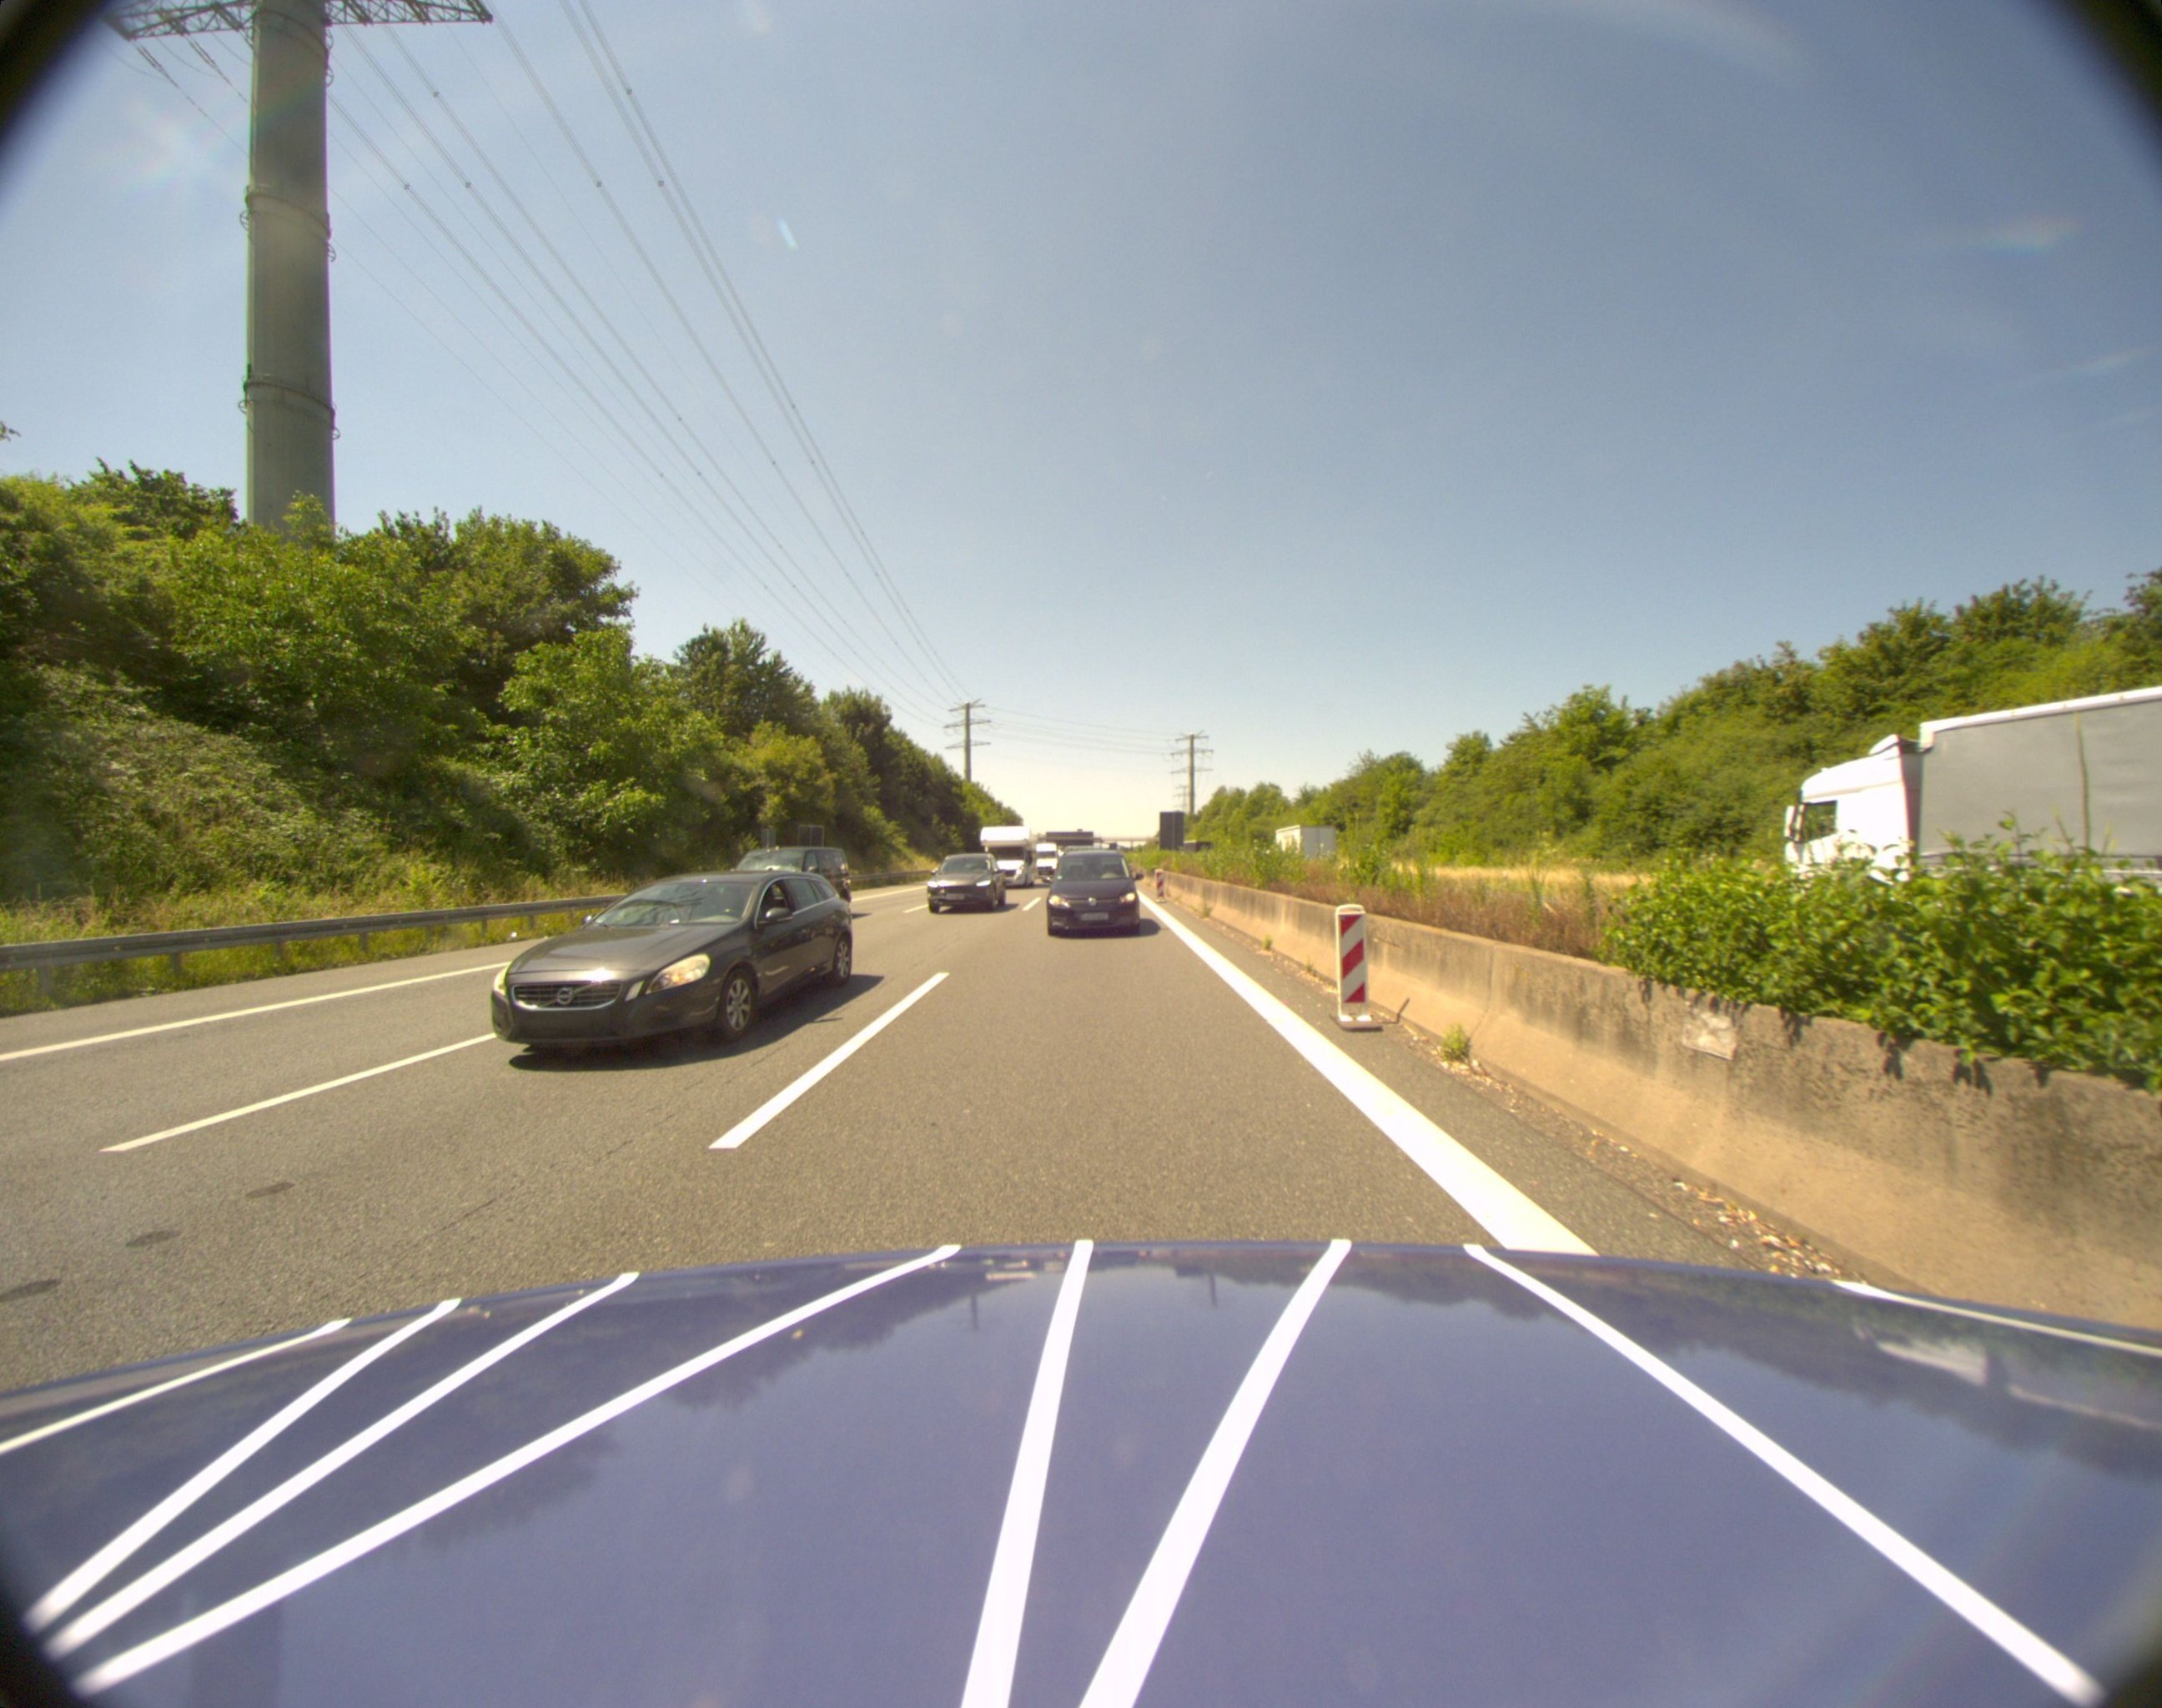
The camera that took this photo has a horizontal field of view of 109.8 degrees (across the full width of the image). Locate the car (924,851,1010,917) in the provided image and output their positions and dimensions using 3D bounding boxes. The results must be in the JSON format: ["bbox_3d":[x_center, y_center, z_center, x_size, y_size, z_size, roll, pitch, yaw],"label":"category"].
[{"bbox_3d":[-3.286,0.809,22.787,1.892,1.693,4.383,-2,1,0],"label":"car"}]

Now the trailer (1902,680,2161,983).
[{"bbox_3d":[16.179,-0.238,6.581,3.024,4.143,14.020,2,0,1],"label":"trailer"}]

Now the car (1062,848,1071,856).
[{"bbox_3d":[-3.831,-0.547,198.475,1.998,2.002,4.000,-2,1,1],"label":"car"}]

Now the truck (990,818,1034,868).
[{"bbox_3d":[-6.153,-0.971,69.773,2.655,4.128,11.661,-2,0,1],"label":"truck"}]

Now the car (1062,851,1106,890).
[{"bbox_3d":[0.164,0.718,36.110,1.892,1.693,4.383,-2,1,1],"label":"car"}]

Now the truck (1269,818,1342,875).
[{"bbox_3d":[16.733,-0.529,57.377,2.769,3.866,9.029,2,1,1],"label":"truck"}]

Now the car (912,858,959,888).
[{"bbox_3d":[-7.795,1.001,41.107,1.800,1.429,3.731,-2,1,0],"label":"car"}]

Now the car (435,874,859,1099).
[{"bbox_3d":[-3.758,1.019,7.624,1.800,1.429,4.230,-2,0,0],"label":"car"}]

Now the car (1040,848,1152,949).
[{"bbox_3d":[0.241,0.750,15.354,1.892,1.693,4.383,-2,1,0],"label":"car"}]

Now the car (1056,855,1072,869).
[{"bbox_3d":[-2.041,0.967,93.833,1.892,1.693,4.383,-2,1,0],"label":"car"}]

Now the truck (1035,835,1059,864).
[{"bbox_3d":[-5.045,-0.691,113.498,2.655,4.128,11.661,-2,0,1],"label":"truck"}]

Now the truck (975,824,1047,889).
[{"bbox_3d":[-3.503,0.076,40.638,2.514,2.997,9.897,-2,0,2],"label":"truck"}]

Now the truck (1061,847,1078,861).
[{"bbox_3d":[-1.962,0.033,128.123,2.408,2.203,6.744,-2,0,2],"label":"truck"}]

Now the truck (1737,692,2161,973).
[{"bbox_3d":[16.392,-0.303,14.246,3.024,4.143,5.805,2,1,1],"label":"truck"}]

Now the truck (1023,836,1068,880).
[{"bbox_3d":[-2.552,0.239,57.858,2.514,2.997,9.897,-2,0,2],"label":"truck"}]

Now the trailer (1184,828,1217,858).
[{"bbox_3d":[17.980,-1.559,115.151,2.759,4.143,14.196,2,0,1],"label":"trailer"}]

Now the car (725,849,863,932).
[{"bbox_3d":[-7.419,0.840,20.203,1.788,1.893,4.698,-2,1,1],"label":"car"}]

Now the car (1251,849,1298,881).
[{"bbox_3d":[12.676,0.678,50.059,1.944,1.878,4.428,3,1,1],"label":"car"}]
